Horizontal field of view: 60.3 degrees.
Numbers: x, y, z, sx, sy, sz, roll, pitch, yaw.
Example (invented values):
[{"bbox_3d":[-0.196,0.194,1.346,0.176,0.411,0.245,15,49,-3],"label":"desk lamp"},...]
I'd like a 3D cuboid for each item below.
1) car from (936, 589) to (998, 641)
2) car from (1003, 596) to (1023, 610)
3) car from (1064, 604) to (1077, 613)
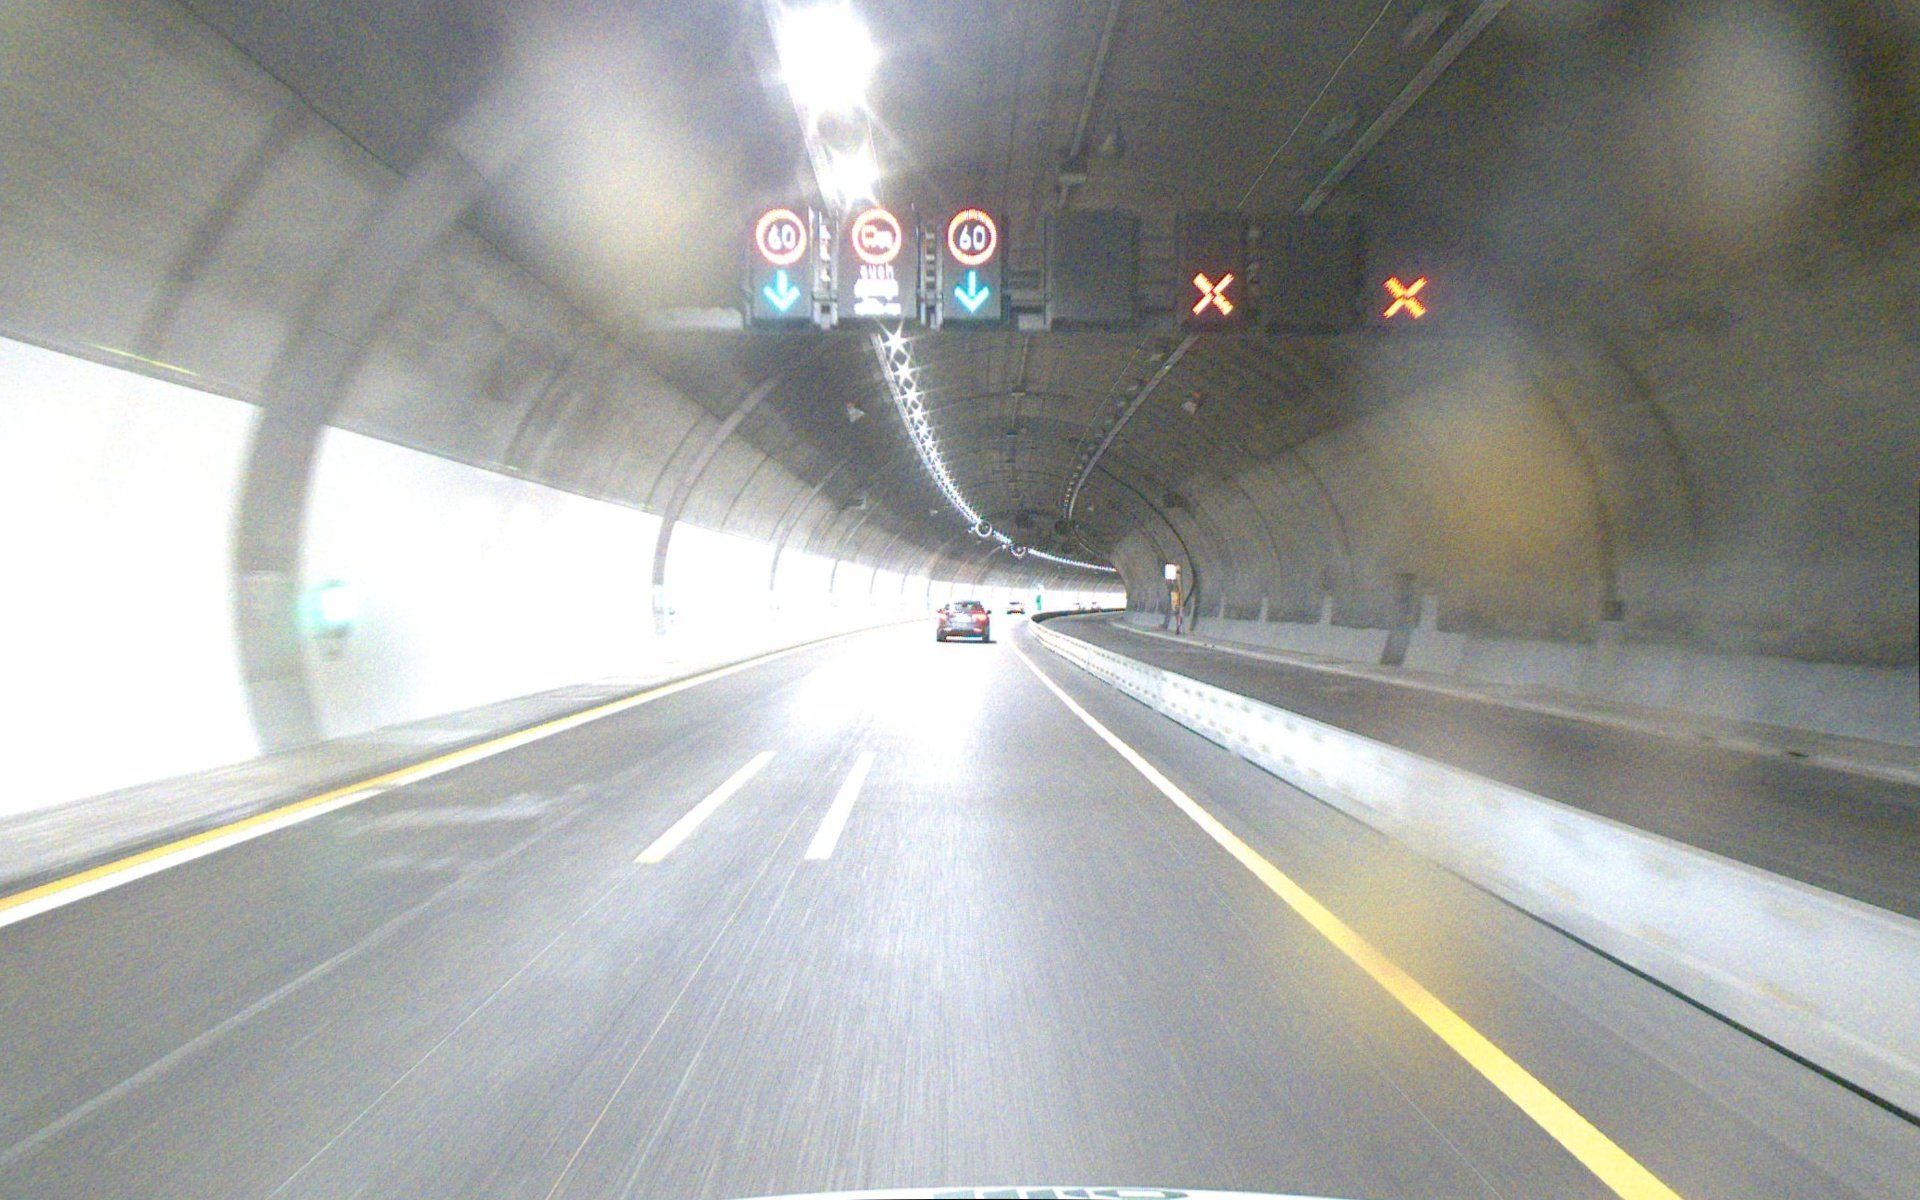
[{"bbox_3d":[0.240,0.506,58.045,2.097,1.736,4.000,1,0,0],"label":"car"},{"bbox_3d":[6.035,0.326,187.760,2.119,1.512,4.002,1,0,4],"label":"car"},{"bbox_3d":[15.794,1.219,236.624,1.561,1.356,3.753,1,0,7],"label":"car"}]
